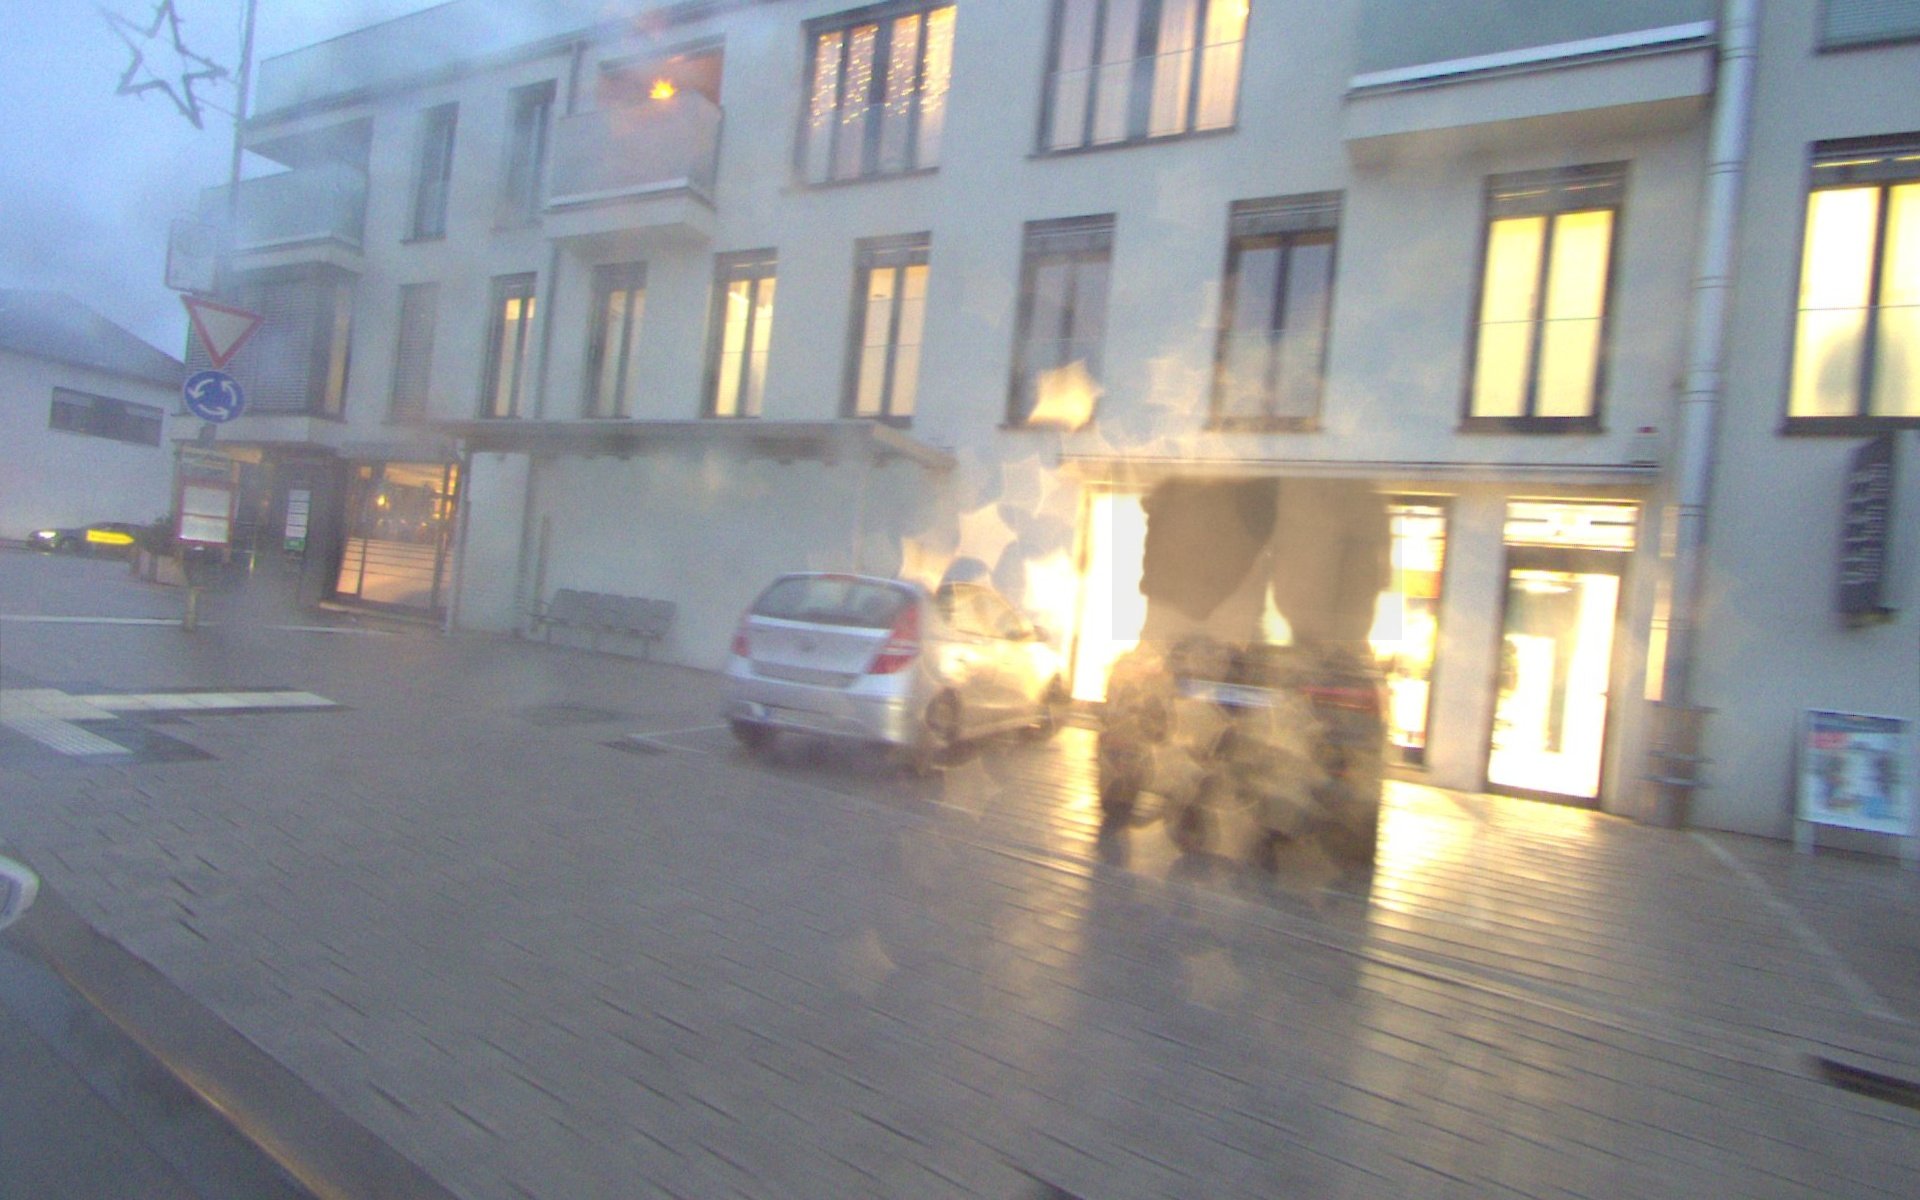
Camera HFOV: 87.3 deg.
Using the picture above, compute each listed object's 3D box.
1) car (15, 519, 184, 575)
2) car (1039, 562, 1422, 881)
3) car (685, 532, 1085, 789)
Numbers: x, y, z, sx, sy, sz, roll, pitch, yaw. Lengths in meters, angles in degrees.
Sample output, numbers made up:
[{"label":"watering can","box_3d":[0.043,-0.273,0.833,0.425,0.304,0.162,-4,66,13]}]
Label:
[{"label":"car","box_3d":[-31.262,-1.887,36.677,1.820,1.399,4.231,3,-4,29]},{"label":"car","box_3d":[2.346,0.693,7.580,1.940,1.511,4.517,5,0,25]},{"label":"car","box_3d":[-0.349,0.392,8.697,1.780,1.523,3.995,7,2,21]}]
